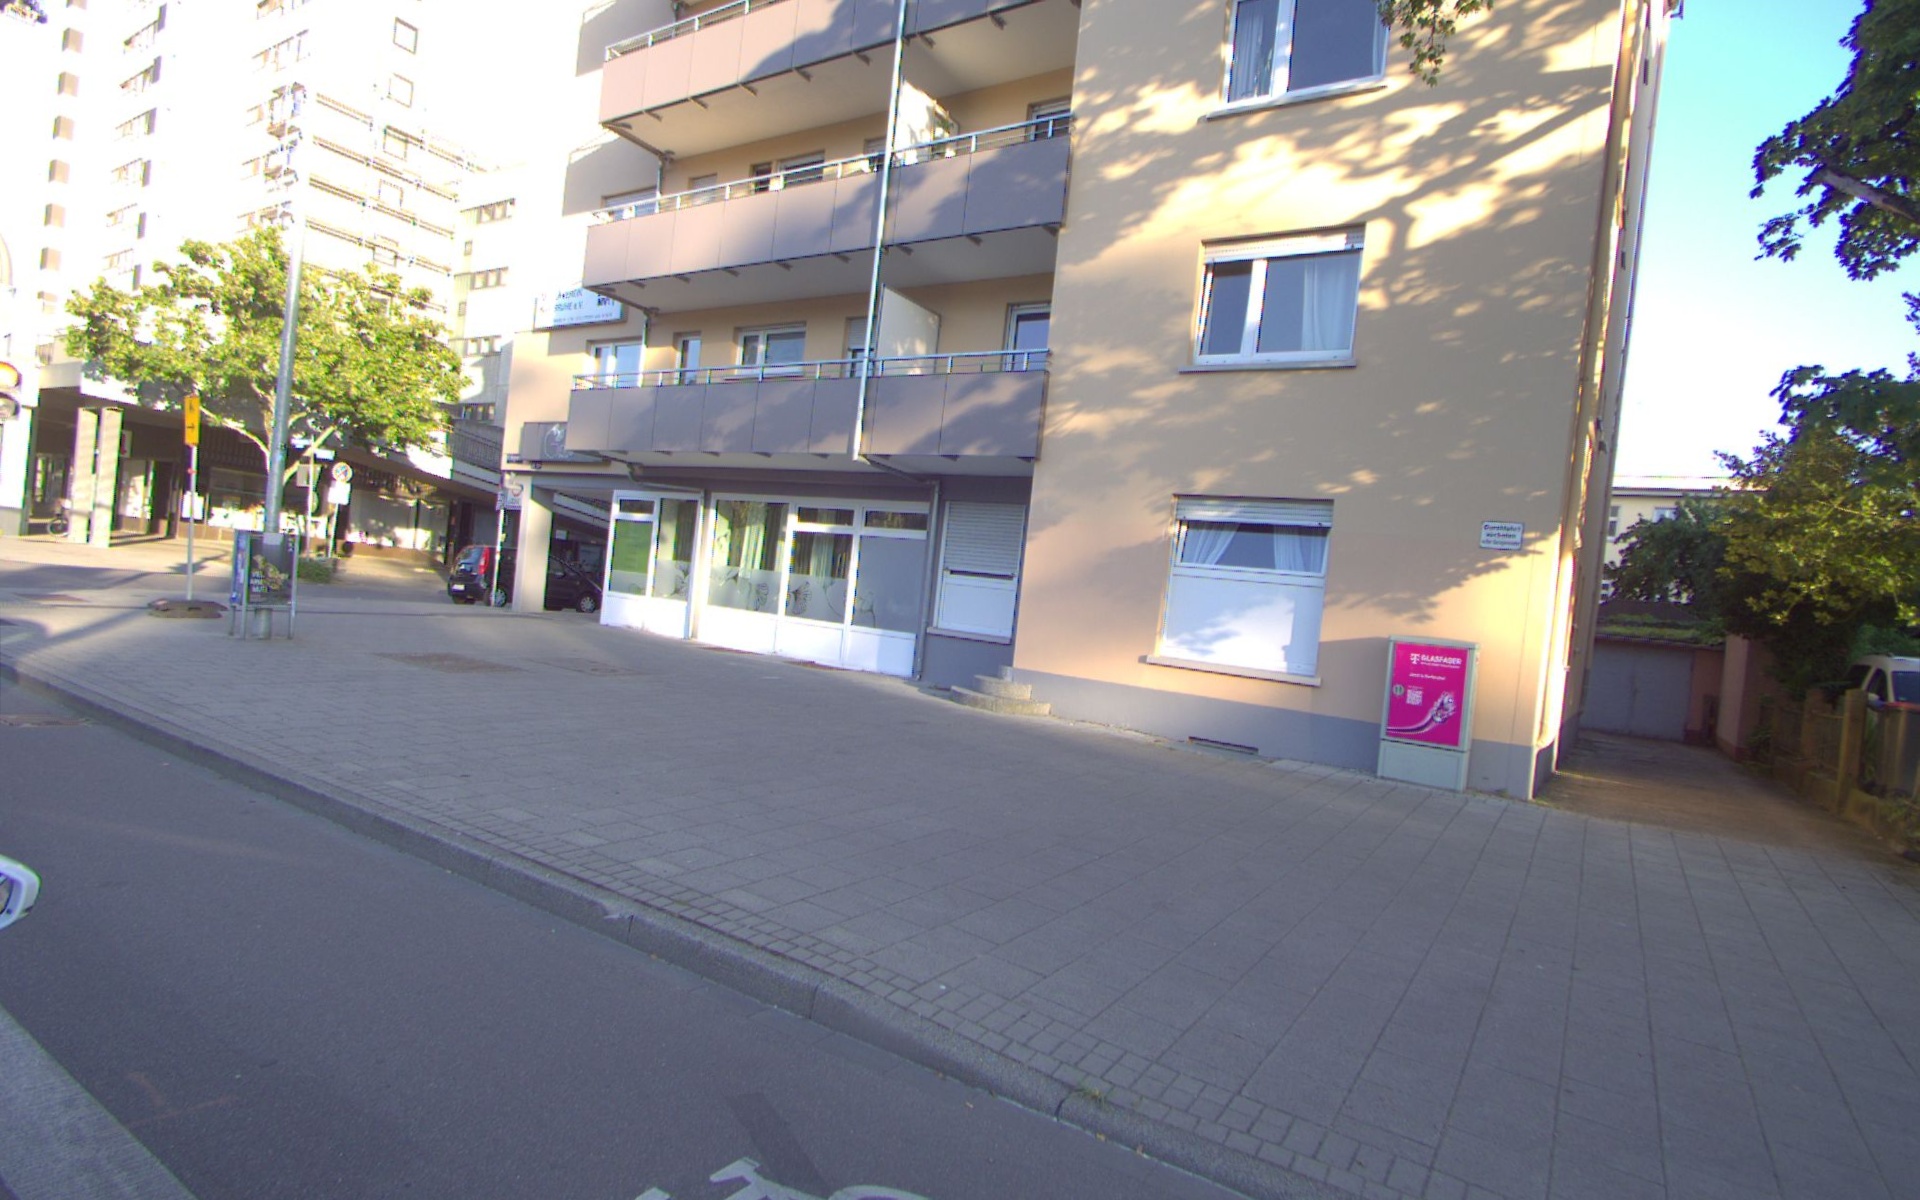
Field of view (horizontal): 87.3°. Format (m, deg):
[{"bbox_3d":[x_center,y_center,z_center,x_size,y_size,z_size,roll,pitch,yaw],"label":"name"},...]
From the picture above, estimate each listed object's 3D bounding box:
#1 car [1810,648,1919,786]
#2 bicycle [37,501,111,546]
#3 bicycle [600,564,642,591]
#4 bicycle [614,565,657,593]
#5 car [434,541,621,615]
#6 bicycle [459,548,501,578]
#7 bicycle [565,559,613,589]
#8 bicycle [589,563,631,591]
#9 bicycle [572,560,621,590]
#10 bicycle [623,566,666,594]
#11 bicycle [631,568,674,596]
[{"bbox_3d":[14.577,1.744,14.970,1.794,1.780,4.513,8,2,27],"label":"car"},{"bbox_3d":[-28.979,-2.500,32.910,1.984,1.162,0.692,7,-2,14],"label":"bicycle"},{"bbox_3d":[-15.970,-1.059,47.395,1.943,1.086,0.582,6,-3,29],"label":"bicycle"},{"bbox_3d":[-15.396,-1.013,47.748,1.942,1.087,0.583,6,-3,26],"label":"bicycle"},{"bbox_3d":[-10.881,-0.522,25.554,1.680,1.605,4.037,3,-1,36],"label":"car"},{"bbox_3d":[-20.200,-1.560,42.333,1.946,1.086,0.581,5,-3,35],"label":"bicycle"},{"bbox_3d":[-17.010,-1.194,46.102,1.939,1.087,0.584,7,-2,13],"label":"bicycle"},{"bbox_3d":[-16.336,-1.094,46.957,1.943,1.086,0.582,6,-3,29],"label":"bicycle"},{"bbox_3d":[-16.819,-1.165,46.545,1.939,1.086,0.584,7,-2,9],"label":"bicycle"},{"bbox_3d":[-15.149,-0.954,48.315,1.941,1.087,0.583,6,-2,21],"label":"bicycle"},{"bbox_3d":[-14.972,-0.879,48.936,1.941,1.087,0.583,6,-2,21],"label":"bicycle"}]
